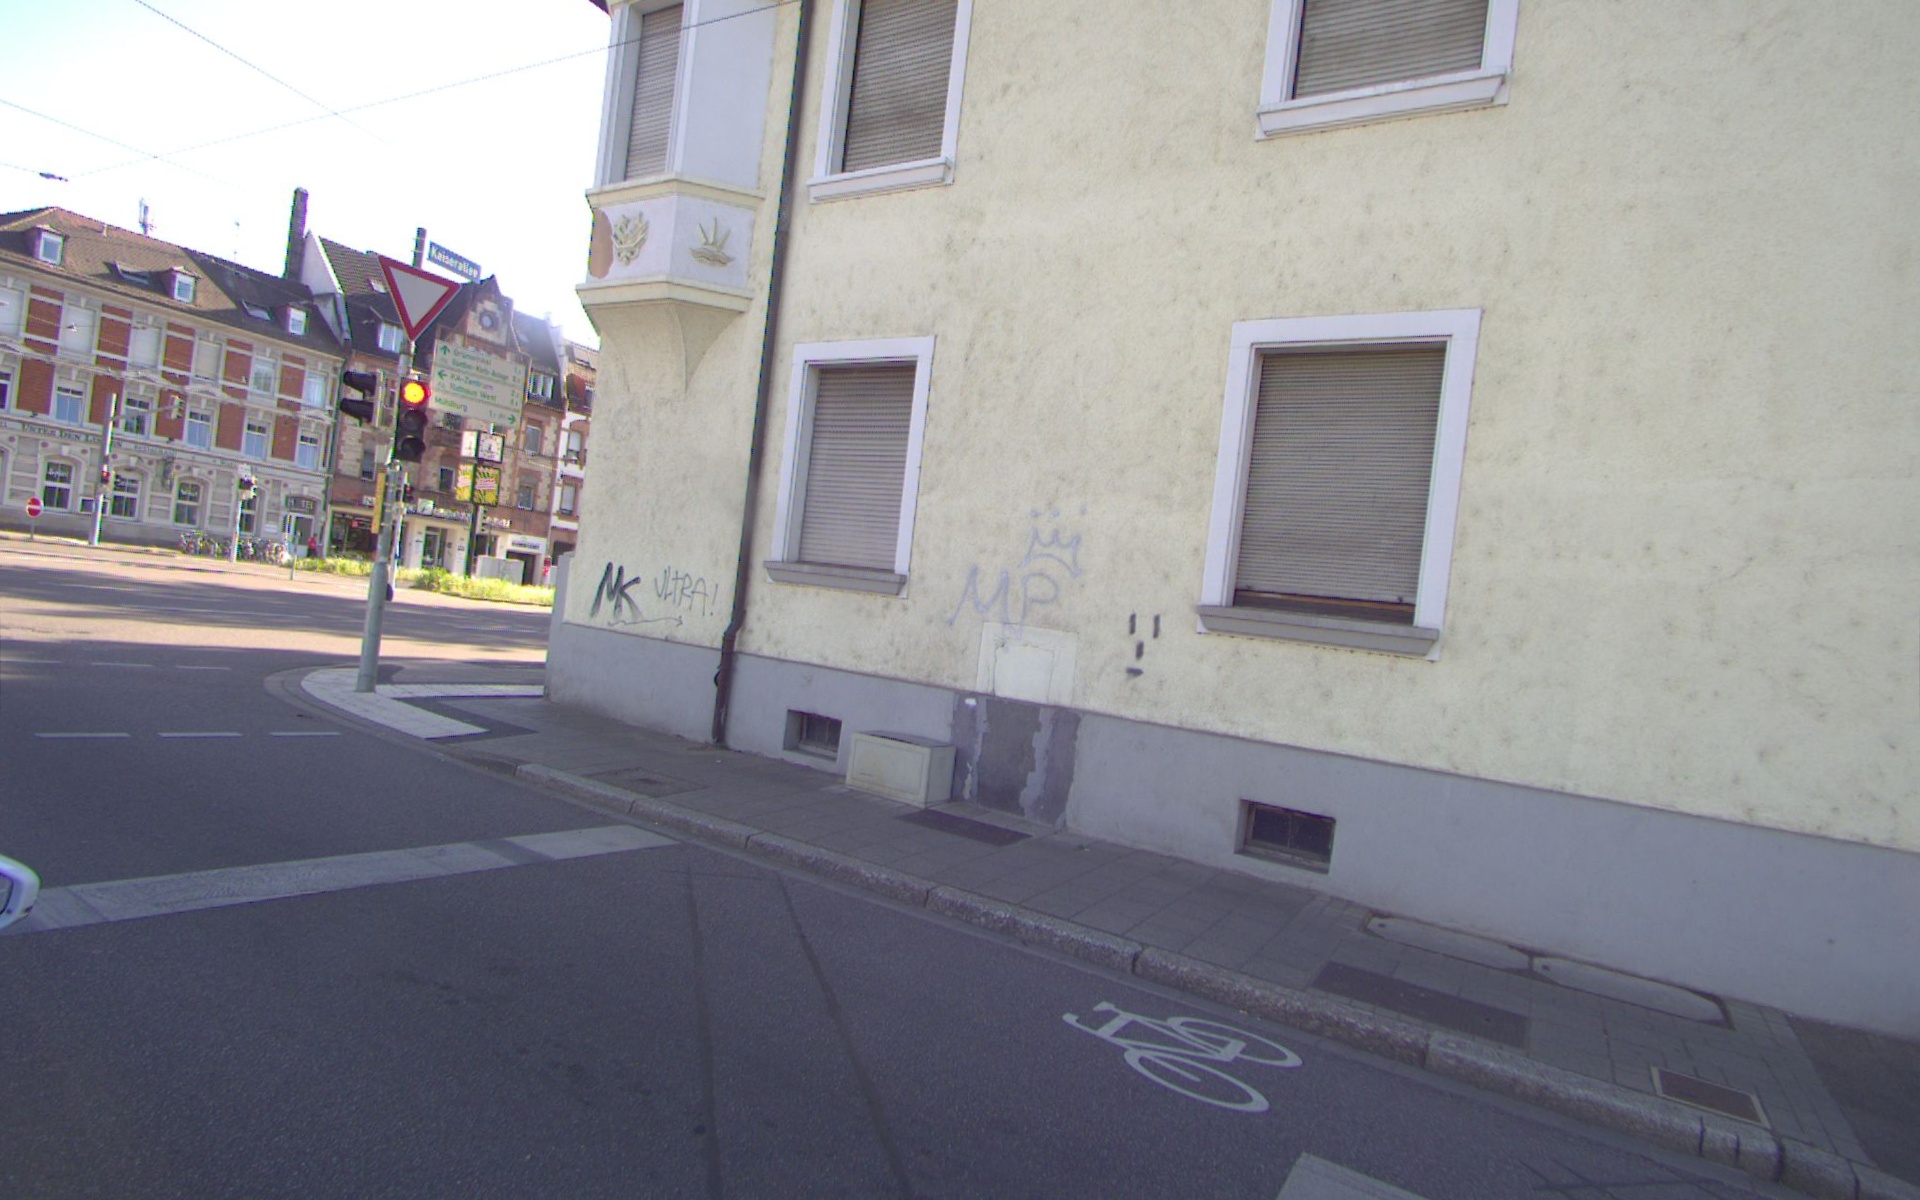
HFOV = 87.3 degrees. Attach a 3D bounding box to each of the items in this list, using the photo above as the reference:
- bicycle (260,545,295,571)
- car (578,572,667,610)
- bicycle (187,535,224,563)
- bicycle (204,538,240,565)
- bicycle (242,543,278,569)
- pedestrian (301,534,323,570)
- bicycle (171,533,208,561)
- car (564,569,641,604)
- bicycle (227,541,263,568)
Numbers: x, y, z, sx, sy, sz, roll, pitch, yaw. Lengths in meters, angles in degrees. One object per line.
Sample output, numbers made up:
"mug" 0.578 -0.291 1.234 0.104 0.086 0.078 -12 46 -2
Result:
"bicycle" -32.985 -2.019 48.587 1.614 1.064 0.606 7 0 27
"car" -20.300 -0.522 60.665 1.967 1.680 4.856 7 -1 31
"bicycle" -34.650 -2.334 46.193 1.614 1.064 0.606 7 0 27
"bicycle" -34.320 -2.268 46.769 1.614 1.064 0.606 7 0 27
"bicycle" -33.360 -2.094 47.949 1.614 1.064 0.606 7 0 27
"pedestrian" -34.069 -2.539 52.862 0.414 1.773 0.709 7 0 33
"bicycle" -34.950 -2.397 45.611 1.614 1.064 0.606 7 0 27
"car" -23.129 -0.869 65.308 1.966 1.674 4.378 7 -1 29
"bicycle" -33.654 -2.157 47.339 1.614 1.064 0.606 7 0 27
